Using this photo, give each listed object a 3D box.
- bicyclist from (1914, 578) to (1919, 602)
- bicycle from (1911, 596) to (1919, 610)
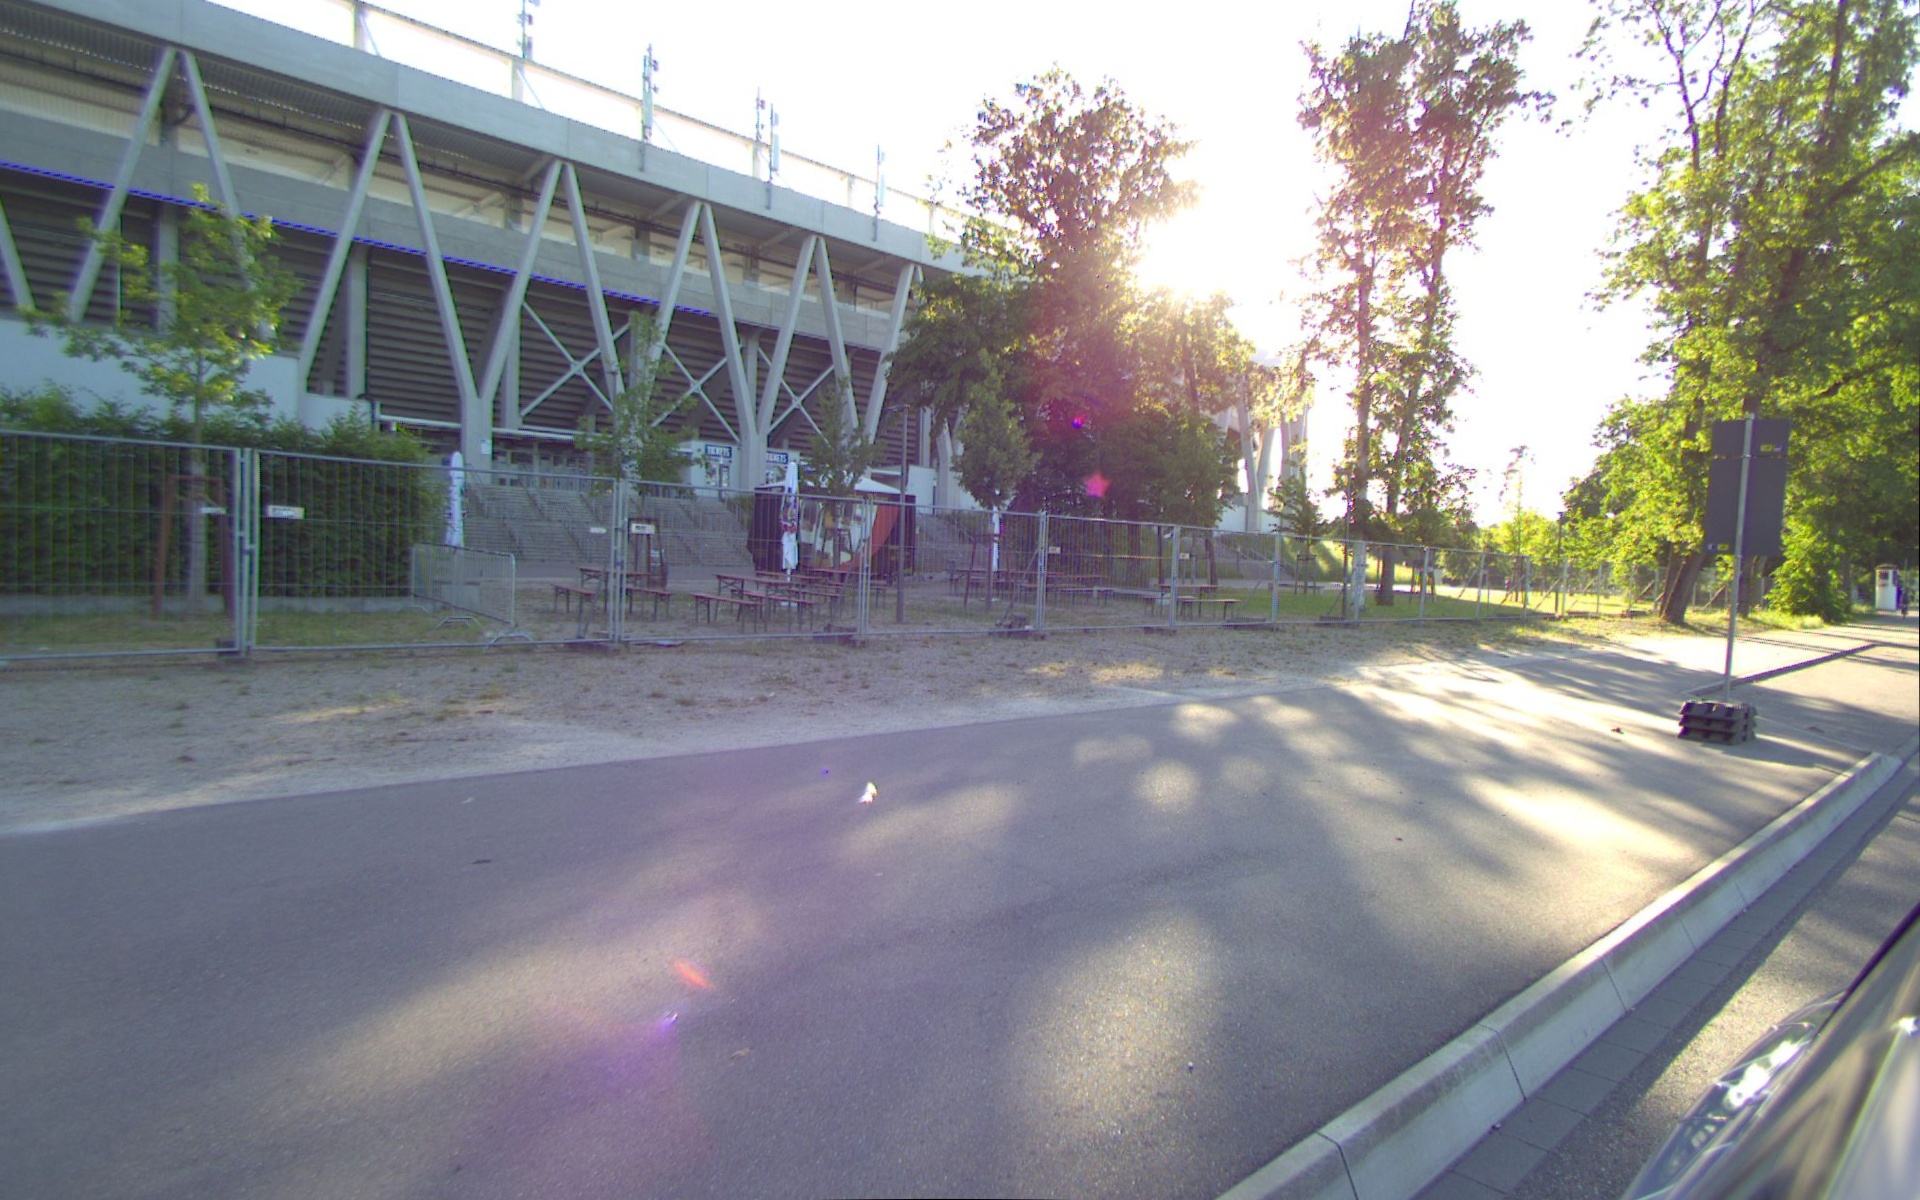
[{"bbox_3d":[60.109,-0.628,63.383,0.565,1.438,0.451,0,2,-40],"label":"bicyclist"},{"bbox_3d":[60.014,0.171,63.350,1.876,0.869,0.481,0,2,-41],"label":"bicycle"}]
